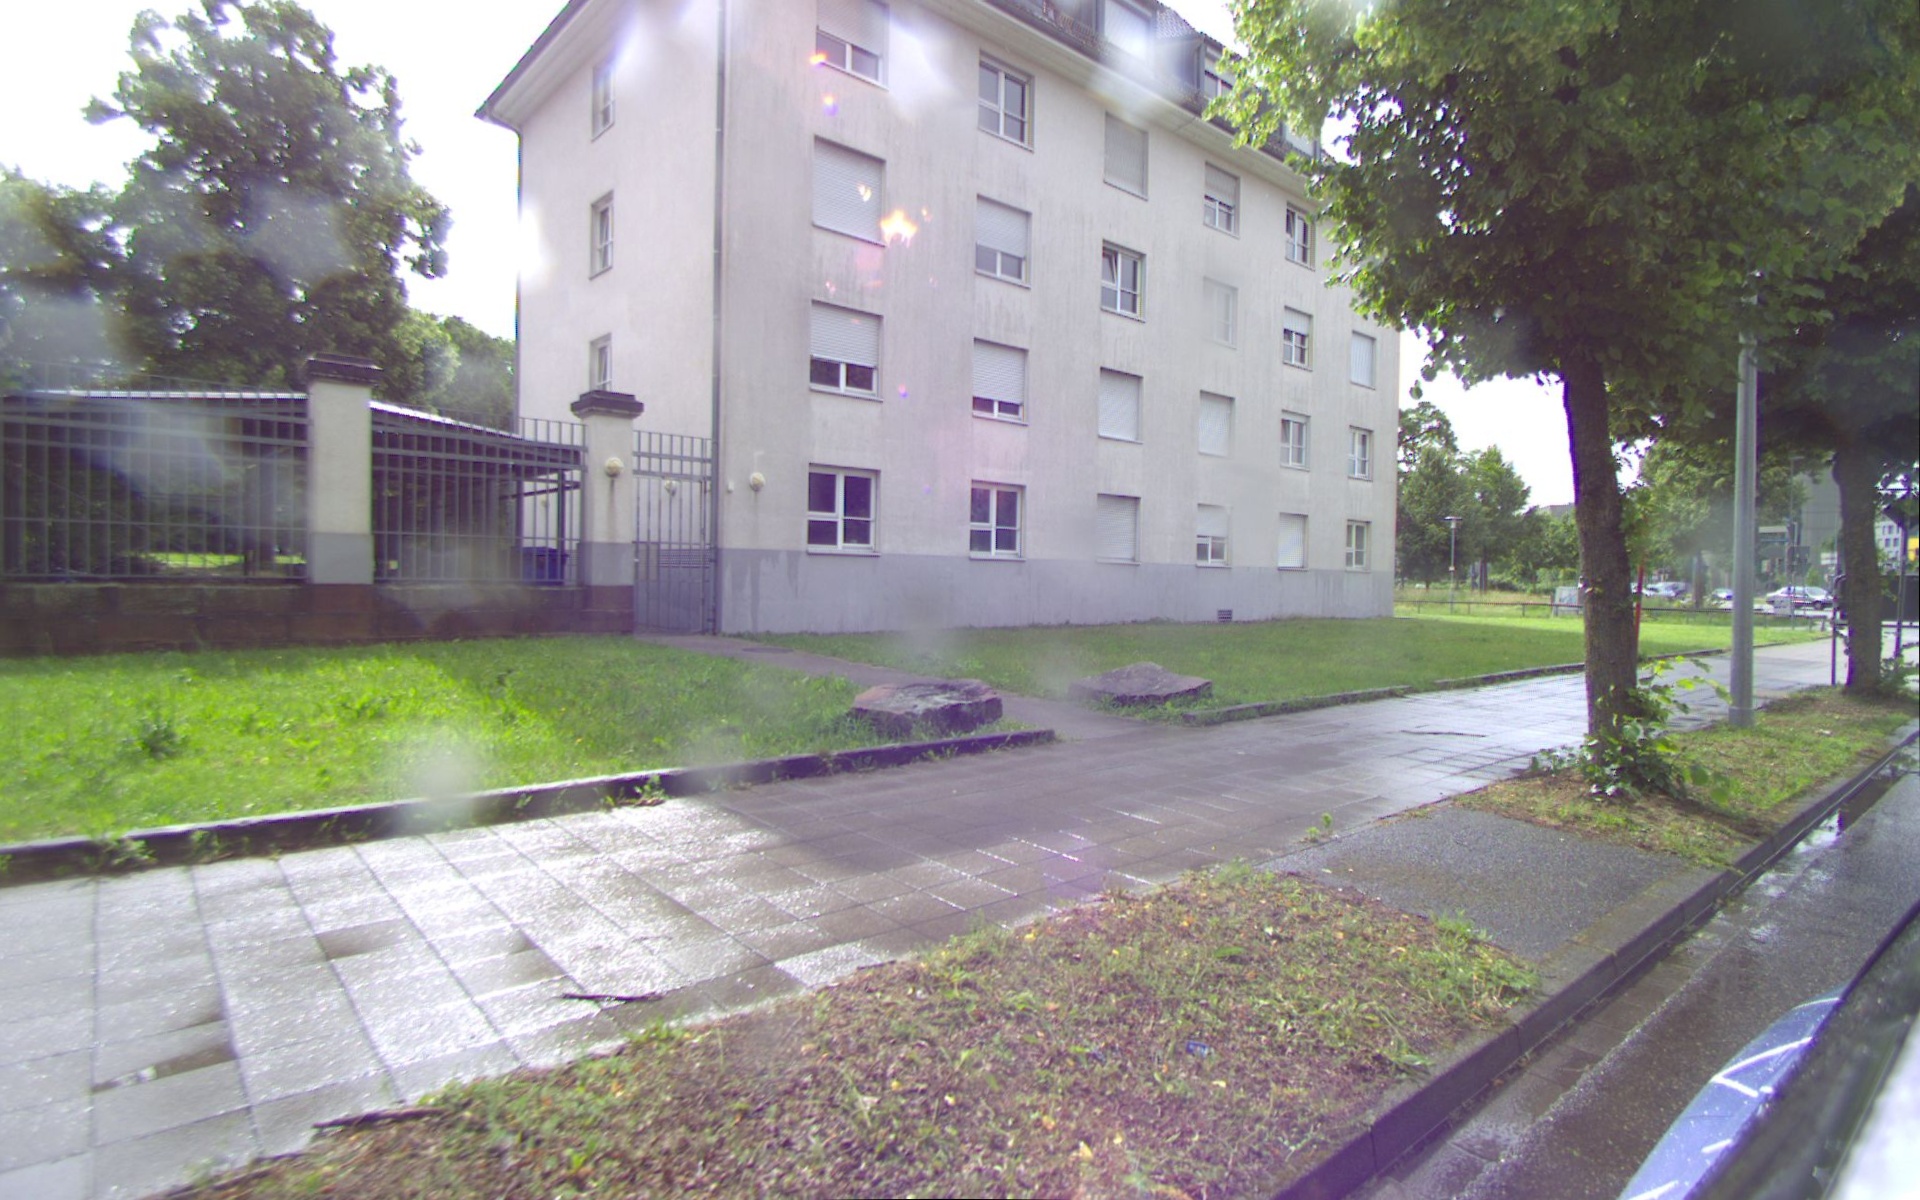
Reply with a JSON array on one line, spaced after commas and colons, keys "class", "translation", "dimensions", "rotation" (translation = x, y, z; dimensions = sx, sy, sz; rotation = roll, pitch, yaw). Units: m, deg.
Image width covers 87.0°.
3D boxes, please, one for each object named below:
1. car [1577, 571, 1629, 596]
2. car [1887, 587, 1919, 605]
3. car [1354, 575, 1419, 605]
[{"class": "car", "translation": [47.982, -1.243, 75.559], "dimensions": [1.864, 1.734, 4.215], "rotation": [2, 2, 12]}, {"class": "car", "translation": [87.210, -0.341, 91.893], "dimensions": [4.064, 1.549, 1.659], "rotation": [1, 1, 19]}, {"class": "car", "translation": [23.713, -0.547, 56.248], "dimensions": [3.707, 1.567, 1.932], "rotation": [0, 2, -43]}]
